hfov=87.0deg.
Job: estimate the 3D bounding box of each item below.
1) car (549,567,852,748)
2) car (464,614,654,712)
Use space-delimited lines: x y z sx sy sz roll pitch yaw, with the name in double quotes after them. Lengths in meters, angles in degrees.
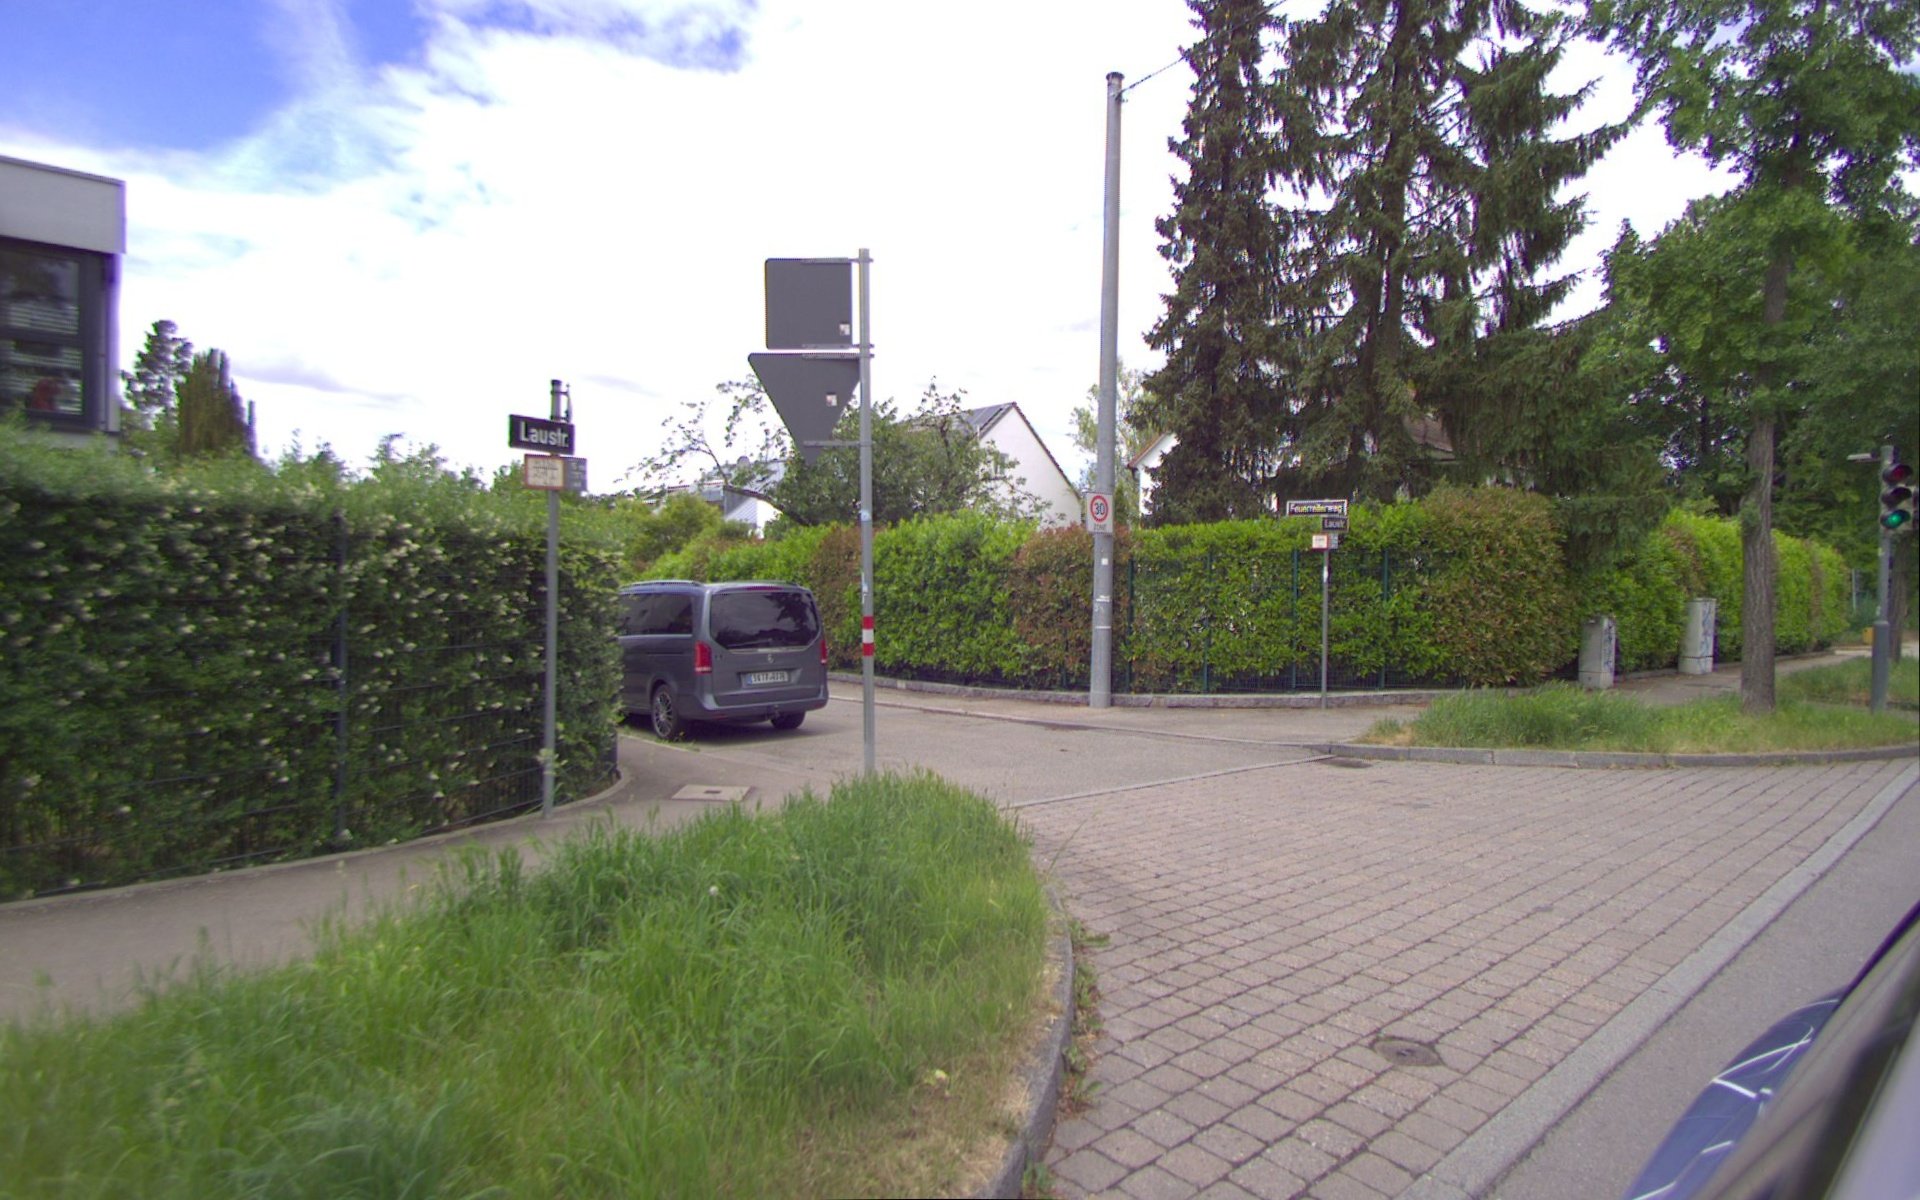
-3.669 0.644 13.649 2.120 1.991 4.768 0 -1 -40 "car"
-7.140 1.000 17.824 1.965 1.477 3.994 0 0 -40 "car"
